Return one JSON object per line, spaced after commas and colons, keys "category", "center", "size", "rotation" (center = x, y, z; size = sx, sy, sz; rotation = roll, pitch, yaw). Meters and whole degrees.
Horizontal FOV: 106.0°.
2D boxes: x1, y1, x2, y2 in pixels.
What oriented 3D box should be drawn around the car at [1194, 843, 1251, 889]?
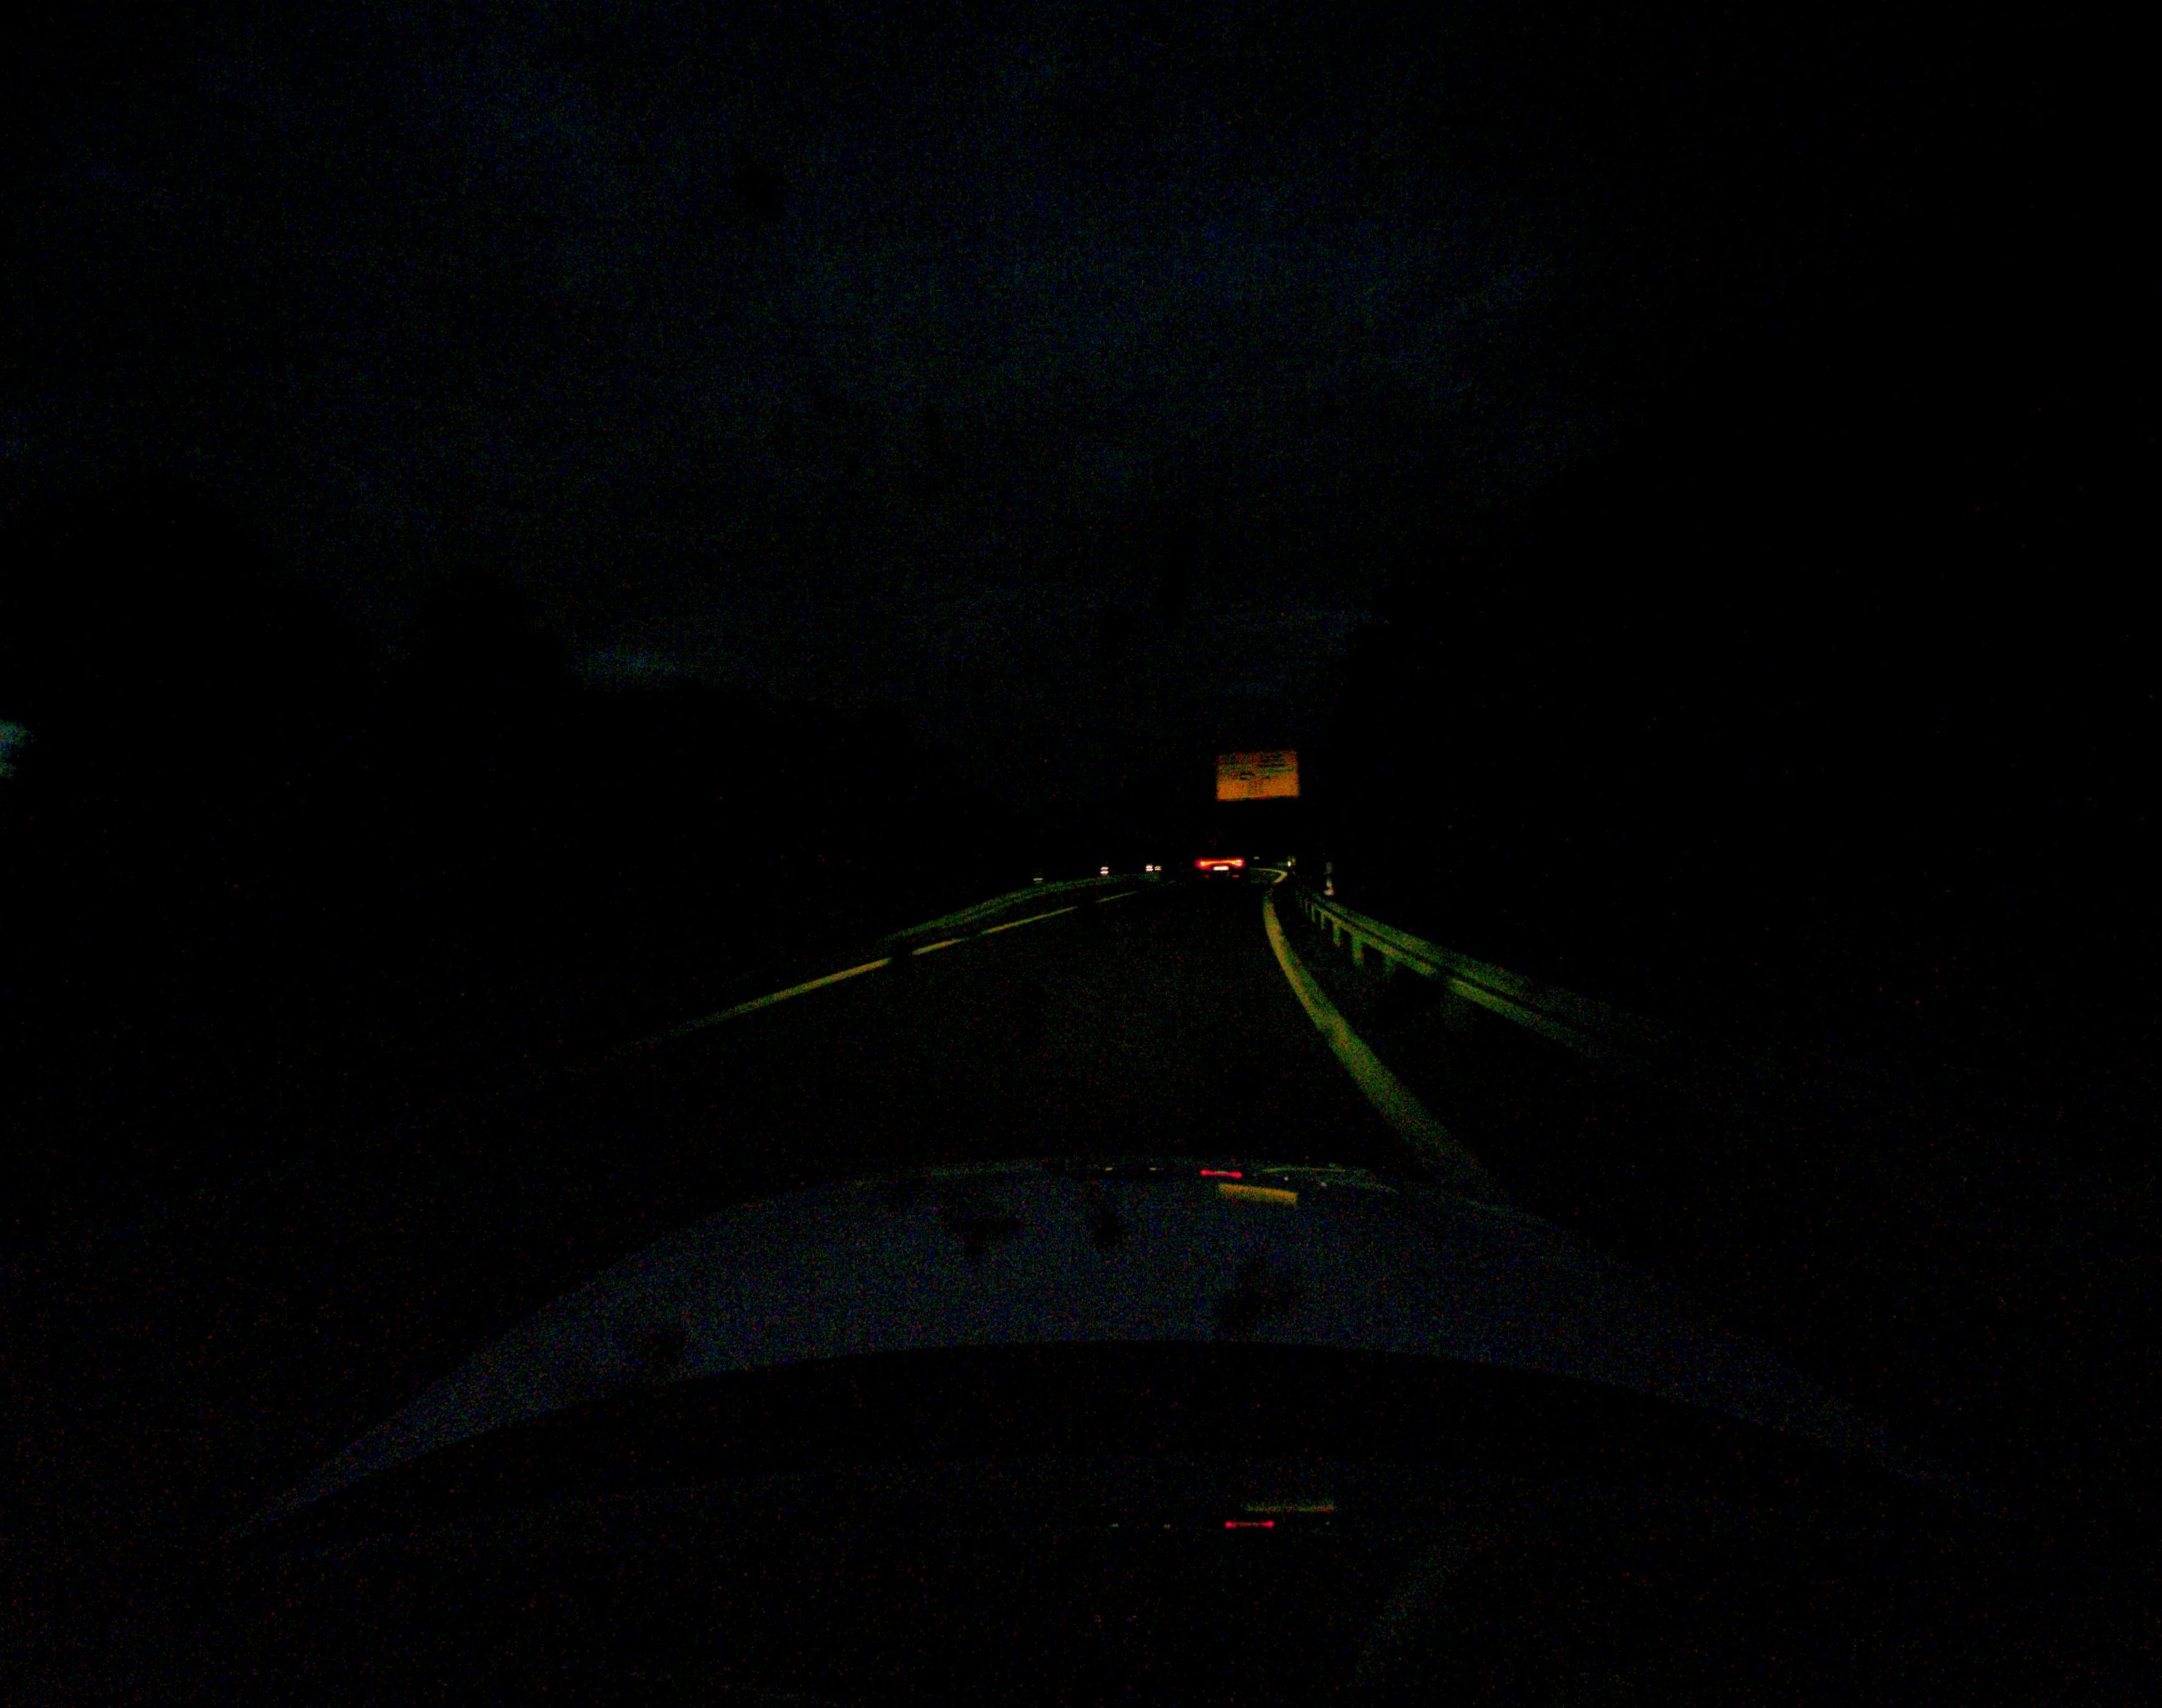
{"category": "car", "center": [5.805, 0.443, 33.037], "size": [1.980, 1.659, 4.330], "rotation": [-3, 0, 12]}
